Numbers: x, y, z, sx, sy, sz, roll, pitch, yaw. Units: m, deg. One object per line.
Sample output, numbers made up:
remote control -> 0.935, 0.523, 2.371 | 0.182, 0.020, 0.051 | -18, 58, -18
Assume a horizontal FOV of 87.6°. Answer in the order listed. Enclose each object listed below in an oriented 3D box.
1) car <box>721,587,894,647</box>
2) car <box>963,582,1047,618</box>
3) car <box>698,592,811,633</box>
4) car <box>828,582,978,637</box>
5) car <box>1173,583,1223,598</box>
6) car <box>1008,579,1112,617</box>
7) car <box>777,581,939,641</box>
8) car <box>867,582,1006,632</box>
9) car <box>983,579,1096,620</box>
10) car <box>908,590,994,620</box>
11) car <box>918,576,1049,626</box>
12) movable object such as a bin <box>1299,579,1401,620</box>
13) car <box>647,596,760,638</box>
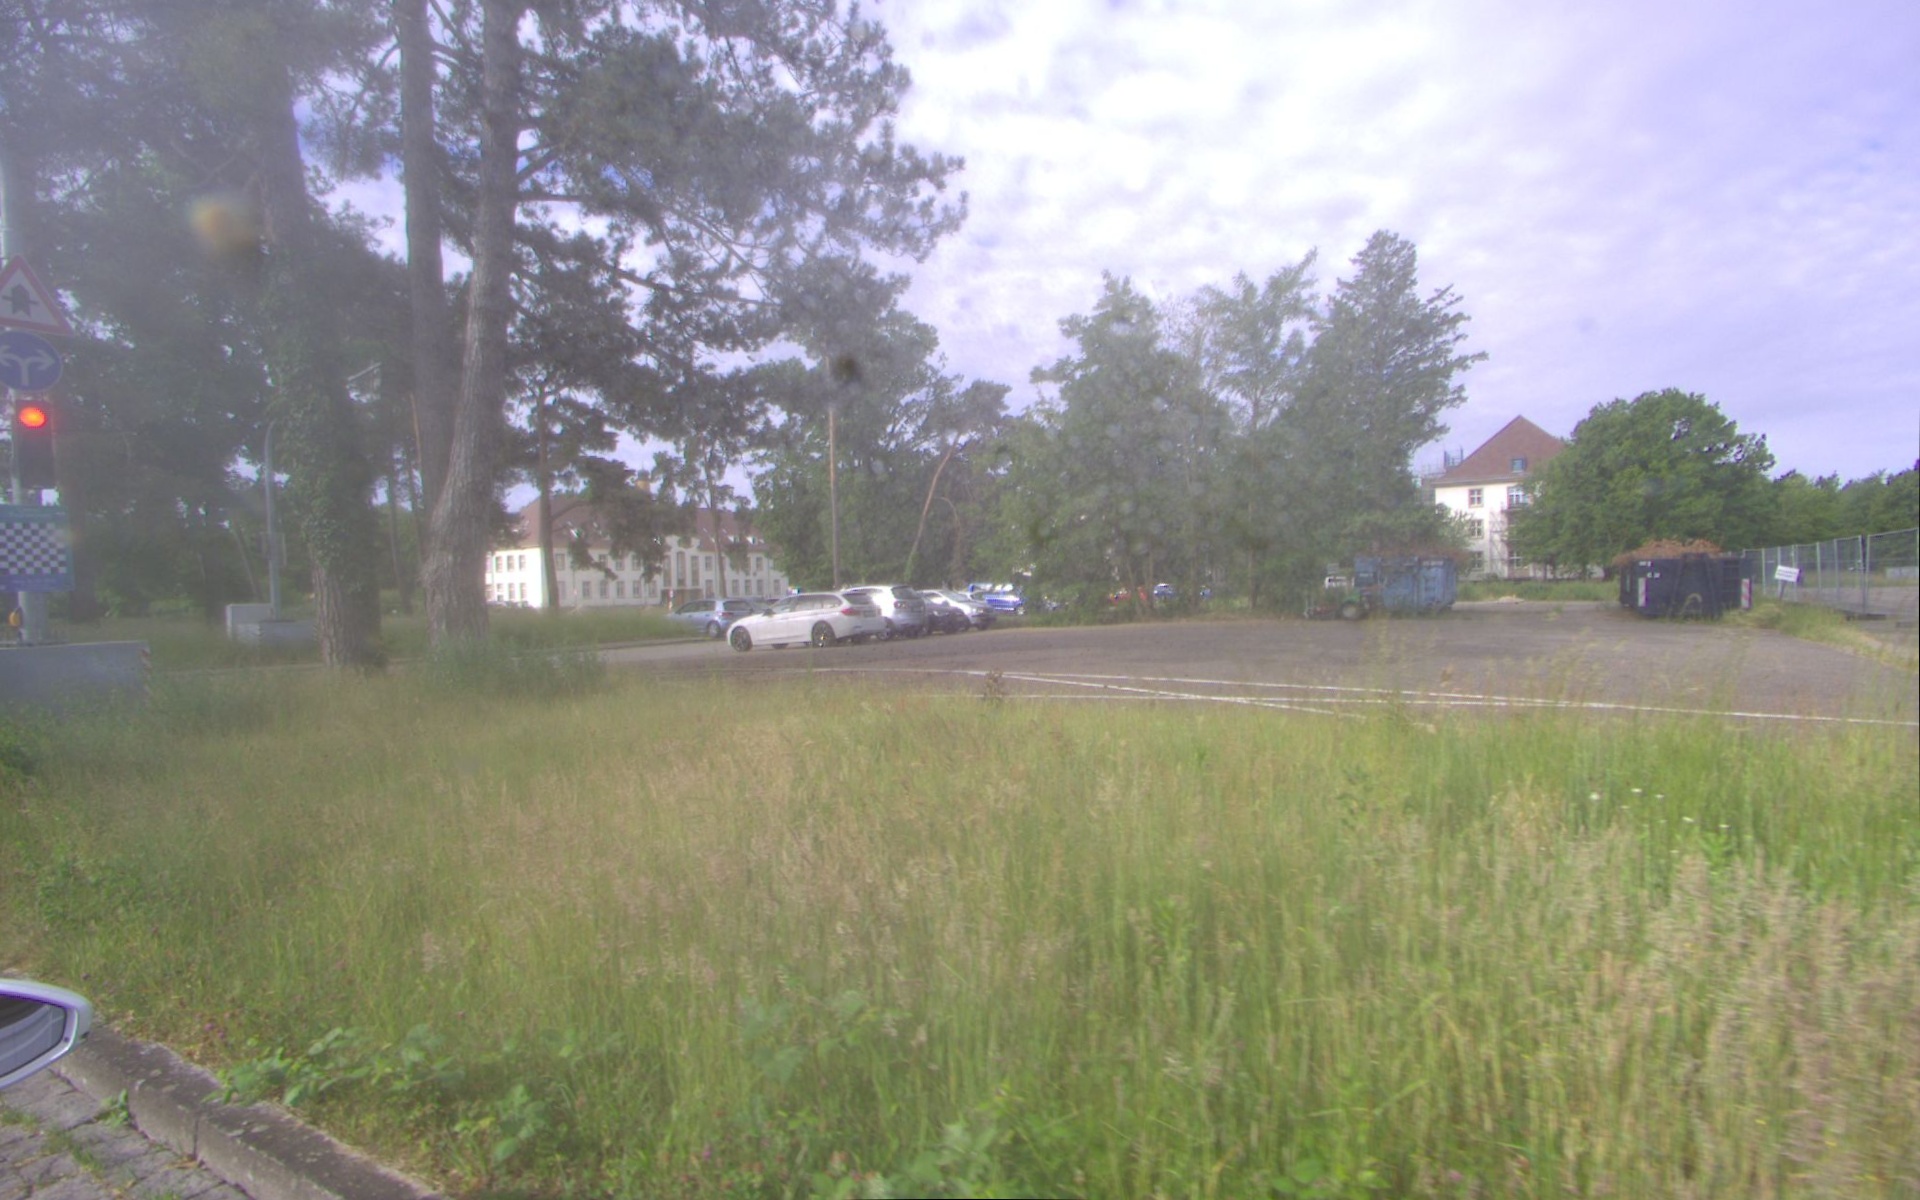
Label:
car -> -4.088, 0.473, 26.721 | 4.380, 1.434, 1.750 | -2, 1, 29
car -> 2.645, 0.022, 58.609 | 4.586, 1.994, 1.750 | -1, 1, 29
car -> -8.385, 0.512, 40.849 | 4.379, 1.545, 1.750 | -1, 1, 28
car -> -1.796, 0.304, 31.476 | 4.380, 1.598, 1.864 | -1, 1, 29
car -> 20.675, -0.826, 87.014 | 3.937, 1.226, 1.656 | -1, 1, 27
car -> 4.578, -0.079, 45.974 | 4.380, 1.598, 1.864 | -1, 1, 29
car -> -2.971, 0.321, 29.061 | 4.380, 1.598, 1.864 | -1, 1, 29
car -> -0.808, 0.247, 34.029 | 4.380, 1.598, 1.864 | -1, 1, 29
car -> 3.328, 0.003, 42.074 | 4.380, 1.598, 1.864 | -1, 1, 29
car -> -0.495, 0.294, 54.759 | 4.380, 1.545, 1.750 | -1, 1, 29
car -> 0.836, 0.048, 36.136 | 4.380, 1.709, 1.864 | -1, 1, 29
movable object such as a bin -> 10.838, -0.032, 27.855 | 2.505, 1.098, 1.060 | 0, 2, 31
car -> -10.020, 0.666, 39.003 | 4.386, 1.545, 1.747 | -1, 1, 33
